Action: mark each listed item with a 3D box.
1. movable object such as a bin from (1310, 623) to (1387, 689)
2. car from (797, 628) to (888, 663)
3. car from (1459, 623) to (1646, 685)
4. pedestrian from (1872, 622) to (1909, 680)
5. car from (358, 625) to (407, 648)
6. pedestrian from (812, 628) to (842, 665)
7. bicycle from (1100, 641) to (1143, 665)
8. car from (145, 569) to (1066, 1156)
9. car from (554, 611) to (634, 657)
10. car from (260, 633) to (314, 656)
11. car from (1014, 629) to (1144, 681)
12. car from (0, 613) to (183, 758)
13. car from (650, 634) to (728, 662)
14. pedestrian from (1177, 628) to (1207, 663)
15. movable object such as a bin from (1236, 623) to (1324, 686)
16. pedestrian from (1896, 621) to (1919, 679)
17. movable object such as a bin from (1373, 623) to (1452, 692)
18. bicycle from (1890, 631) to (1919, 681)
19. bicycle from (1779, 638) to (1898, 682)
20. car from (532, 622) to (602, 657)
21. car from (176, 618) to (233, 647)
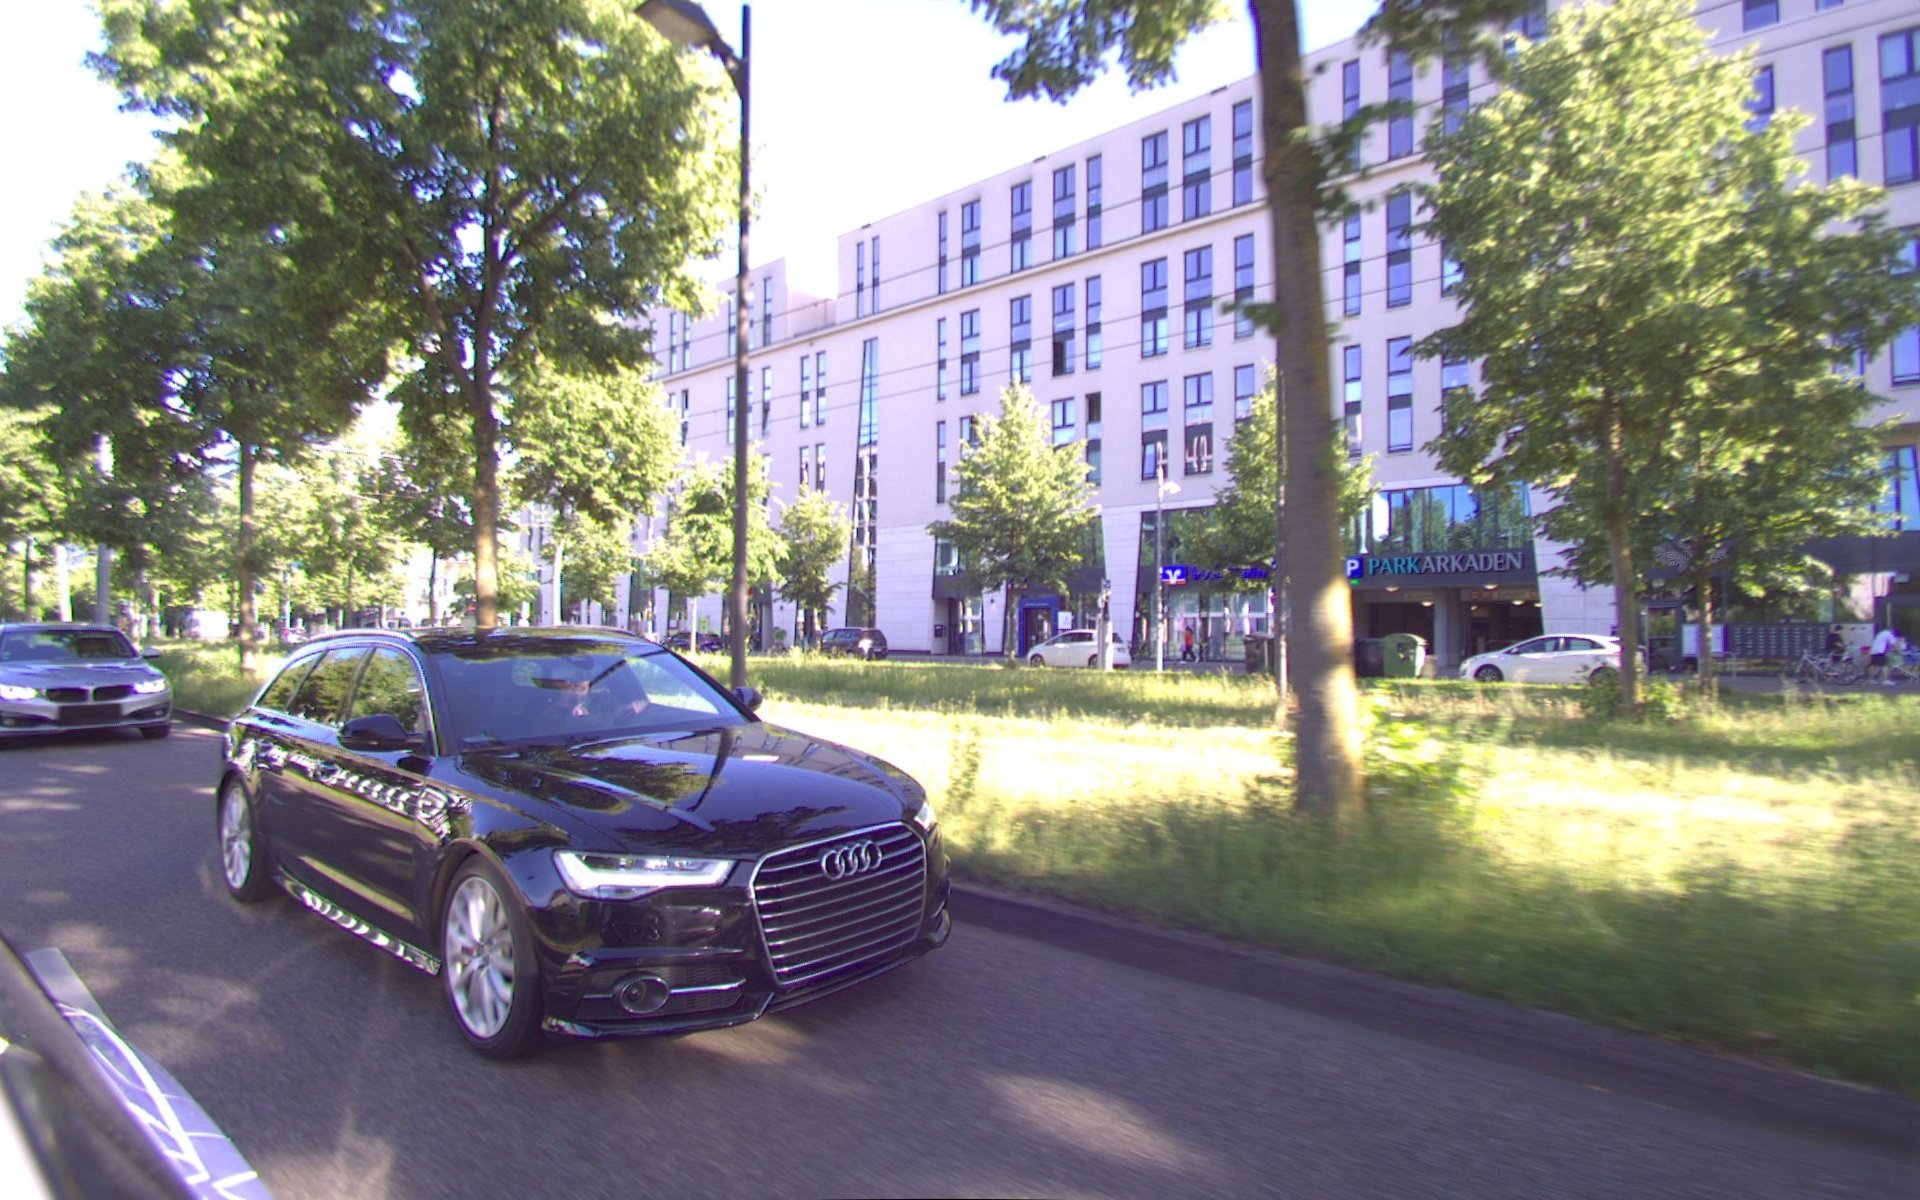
[{"bbox_3d":[11.496,1.613,29.927,1.554,1.808,1.950,-1,0,40],"label":"movable object such as a bin"},{"bbox_3d":[-5.232,1.989,44.825,4.268,1.491,1.542,-2,-1,41],"label":"car"},{"bbox_3d":[15.562,1.370,26.657,4.015,1.452,1.974,-1,0,39],"label":"car"},{"bbox_3d":[25.638,1.391,27.892,0.494,1.561,0.522,-1,0,-7],"label":"pedestrian"},{"bbox_3d":[-48.393,3.057,84.786,4.417,1.822,2.079,-1,0,39],"label":"car"},{"bbox_3d":[-6.532,2.255,49.669,1.222,1.756,0.834,-1,0,42],"label":"pedestrian"},{"bbox_3d":[6.981,2.277,43.789,1.848,0.960,0.573,-1,0,44],"label":"bicycle"},{"bbox_3d":[-2.143,0.777,4.972,5.080,1.492,1.933,-3,-3,40],"label":"car"},{"bbox_3d":[-17.176,1.563,47.404,4.001,2.029,1.971,-1,0,44],"label":"car"},{"bbox_3d":[-47.077,3.115,70.800,4.452,1.452,1.973,-1,0,40],"label":"car"},{"bbox_3d":[4.315,1.951,36.998,4.334,1.742,1.974,-1,0,39],"label":"car"},{"bbox_3d":[-11.866,0.996,13.315,4.276,1.590,1.862,-1,0,42],"label":"car"},{"bbox_3d":[-14.248,2.495,53.141,4.331,1.424,1.706,-2,-2,38],"label":"car"},{"bbox_3d":[10.057,1.969,43.884,1.024,1.479,0.939,-1,0,32],"label":"pedestrian"},{"bbox_3d":[9.878,1.641,31.198,2.008,1.808,1.951,-1,0,39],"label":"movable object such as a bin"},{"bbox_3d":[26.347,1.380,27.951,0.494,1.561,0.522,-1,0,-7],"label":"pedestrian"},{"bbox_3d":[12.864,1.588,28.754,1.554,1.808,1.950,-1,0,40],"label":"movable object such as a bin"},{"bbox_3d":[26.374,1.500,26.574,0.935,1.290,2.775,-1,0,-41],"label":"bicycle"},{"bbox_3d":[24.463,1.643,28.258,2.369,1.145,0.859,-1,0,32],"label":"bicycle"},{"bbox_3d":[-24.039,2.397,61.789,4.549,2.029,1.974,-2,-2,39],"label":"car"},{"bbox_3d":[-64.230,2.734,85.985,6.021,2.399,2.481,-1,0,39],"label":"car"}]
